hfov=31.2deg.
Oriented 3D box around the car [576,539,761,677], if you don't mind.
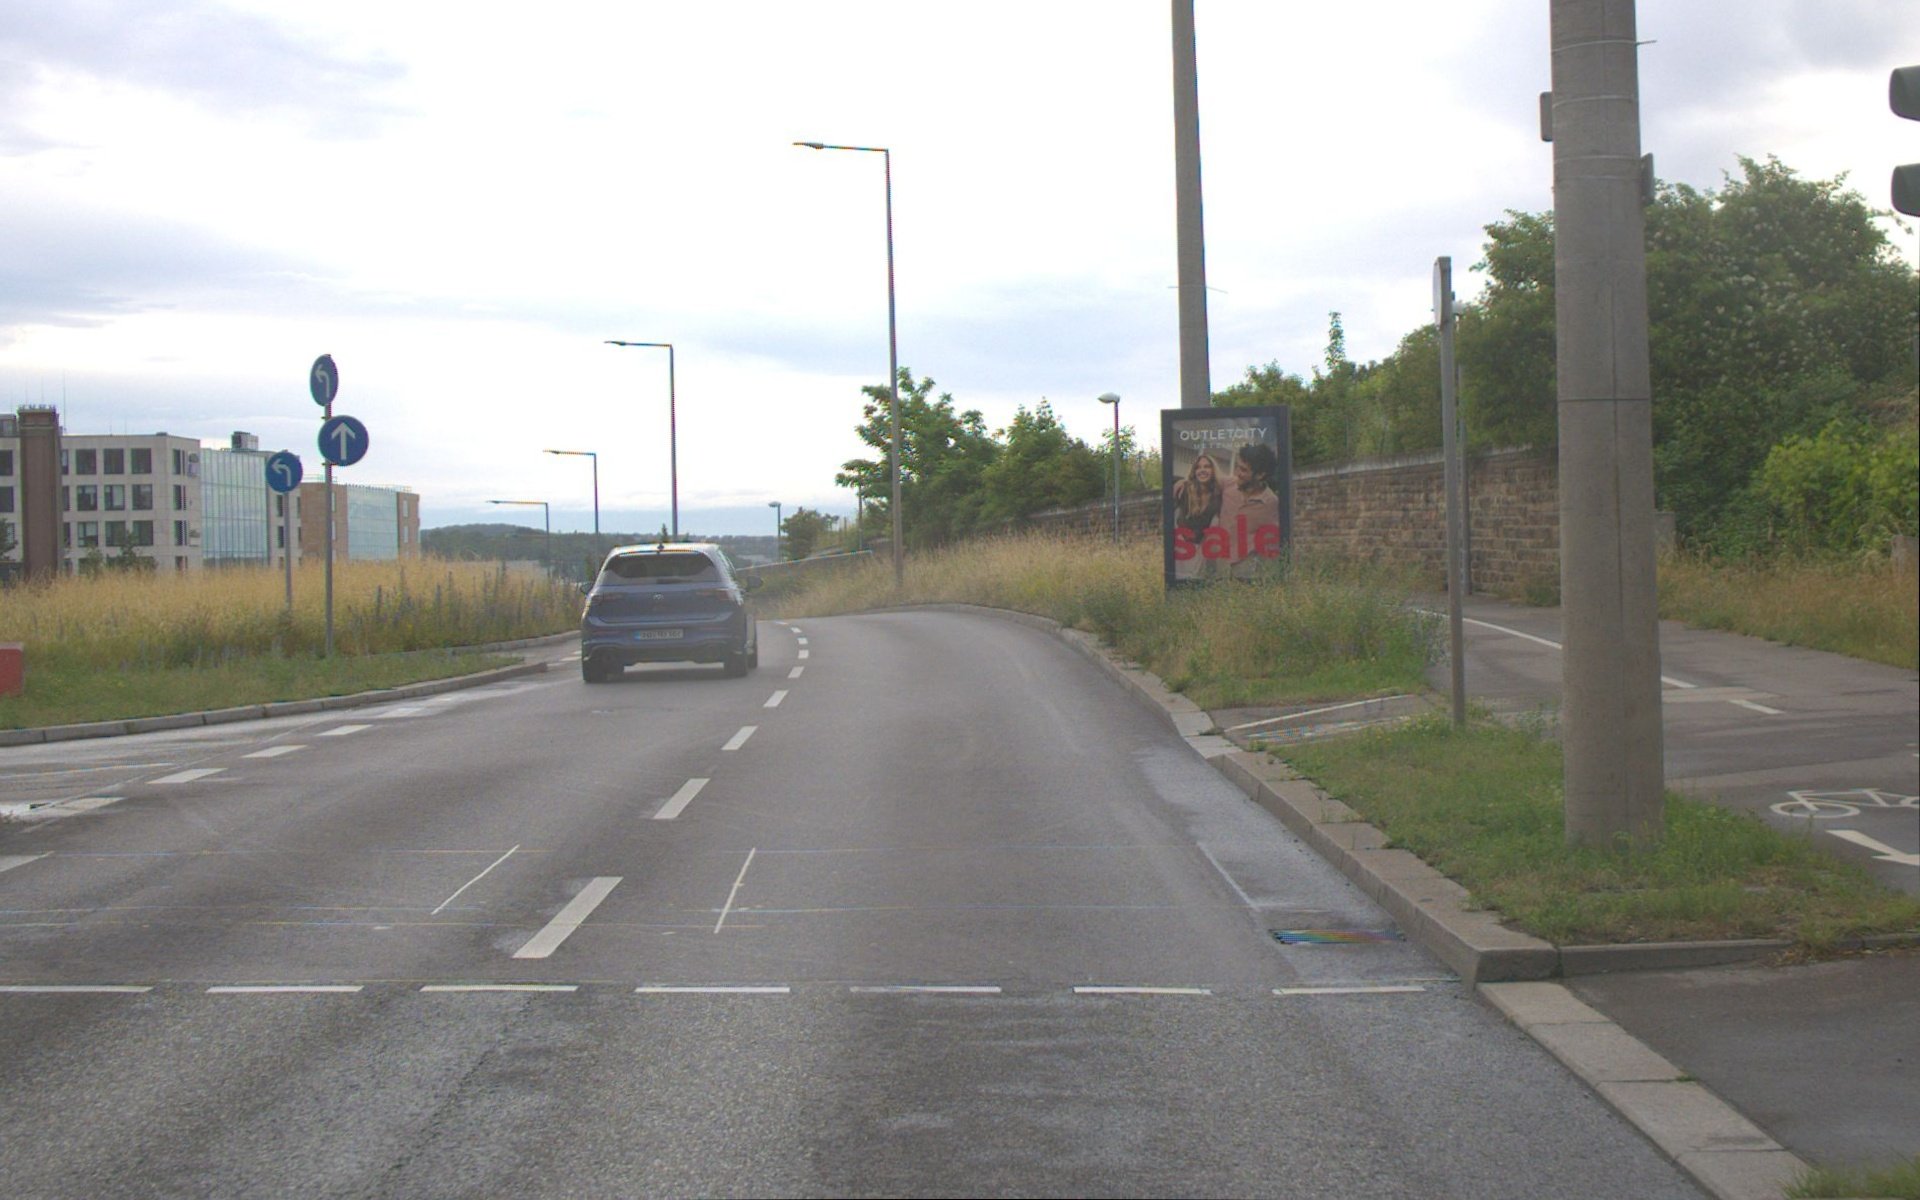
[{"bbox_3d":[-3.145,0.065,37.589,1.748,1.415,3.478,1,1,-1],"label":"car"}]
